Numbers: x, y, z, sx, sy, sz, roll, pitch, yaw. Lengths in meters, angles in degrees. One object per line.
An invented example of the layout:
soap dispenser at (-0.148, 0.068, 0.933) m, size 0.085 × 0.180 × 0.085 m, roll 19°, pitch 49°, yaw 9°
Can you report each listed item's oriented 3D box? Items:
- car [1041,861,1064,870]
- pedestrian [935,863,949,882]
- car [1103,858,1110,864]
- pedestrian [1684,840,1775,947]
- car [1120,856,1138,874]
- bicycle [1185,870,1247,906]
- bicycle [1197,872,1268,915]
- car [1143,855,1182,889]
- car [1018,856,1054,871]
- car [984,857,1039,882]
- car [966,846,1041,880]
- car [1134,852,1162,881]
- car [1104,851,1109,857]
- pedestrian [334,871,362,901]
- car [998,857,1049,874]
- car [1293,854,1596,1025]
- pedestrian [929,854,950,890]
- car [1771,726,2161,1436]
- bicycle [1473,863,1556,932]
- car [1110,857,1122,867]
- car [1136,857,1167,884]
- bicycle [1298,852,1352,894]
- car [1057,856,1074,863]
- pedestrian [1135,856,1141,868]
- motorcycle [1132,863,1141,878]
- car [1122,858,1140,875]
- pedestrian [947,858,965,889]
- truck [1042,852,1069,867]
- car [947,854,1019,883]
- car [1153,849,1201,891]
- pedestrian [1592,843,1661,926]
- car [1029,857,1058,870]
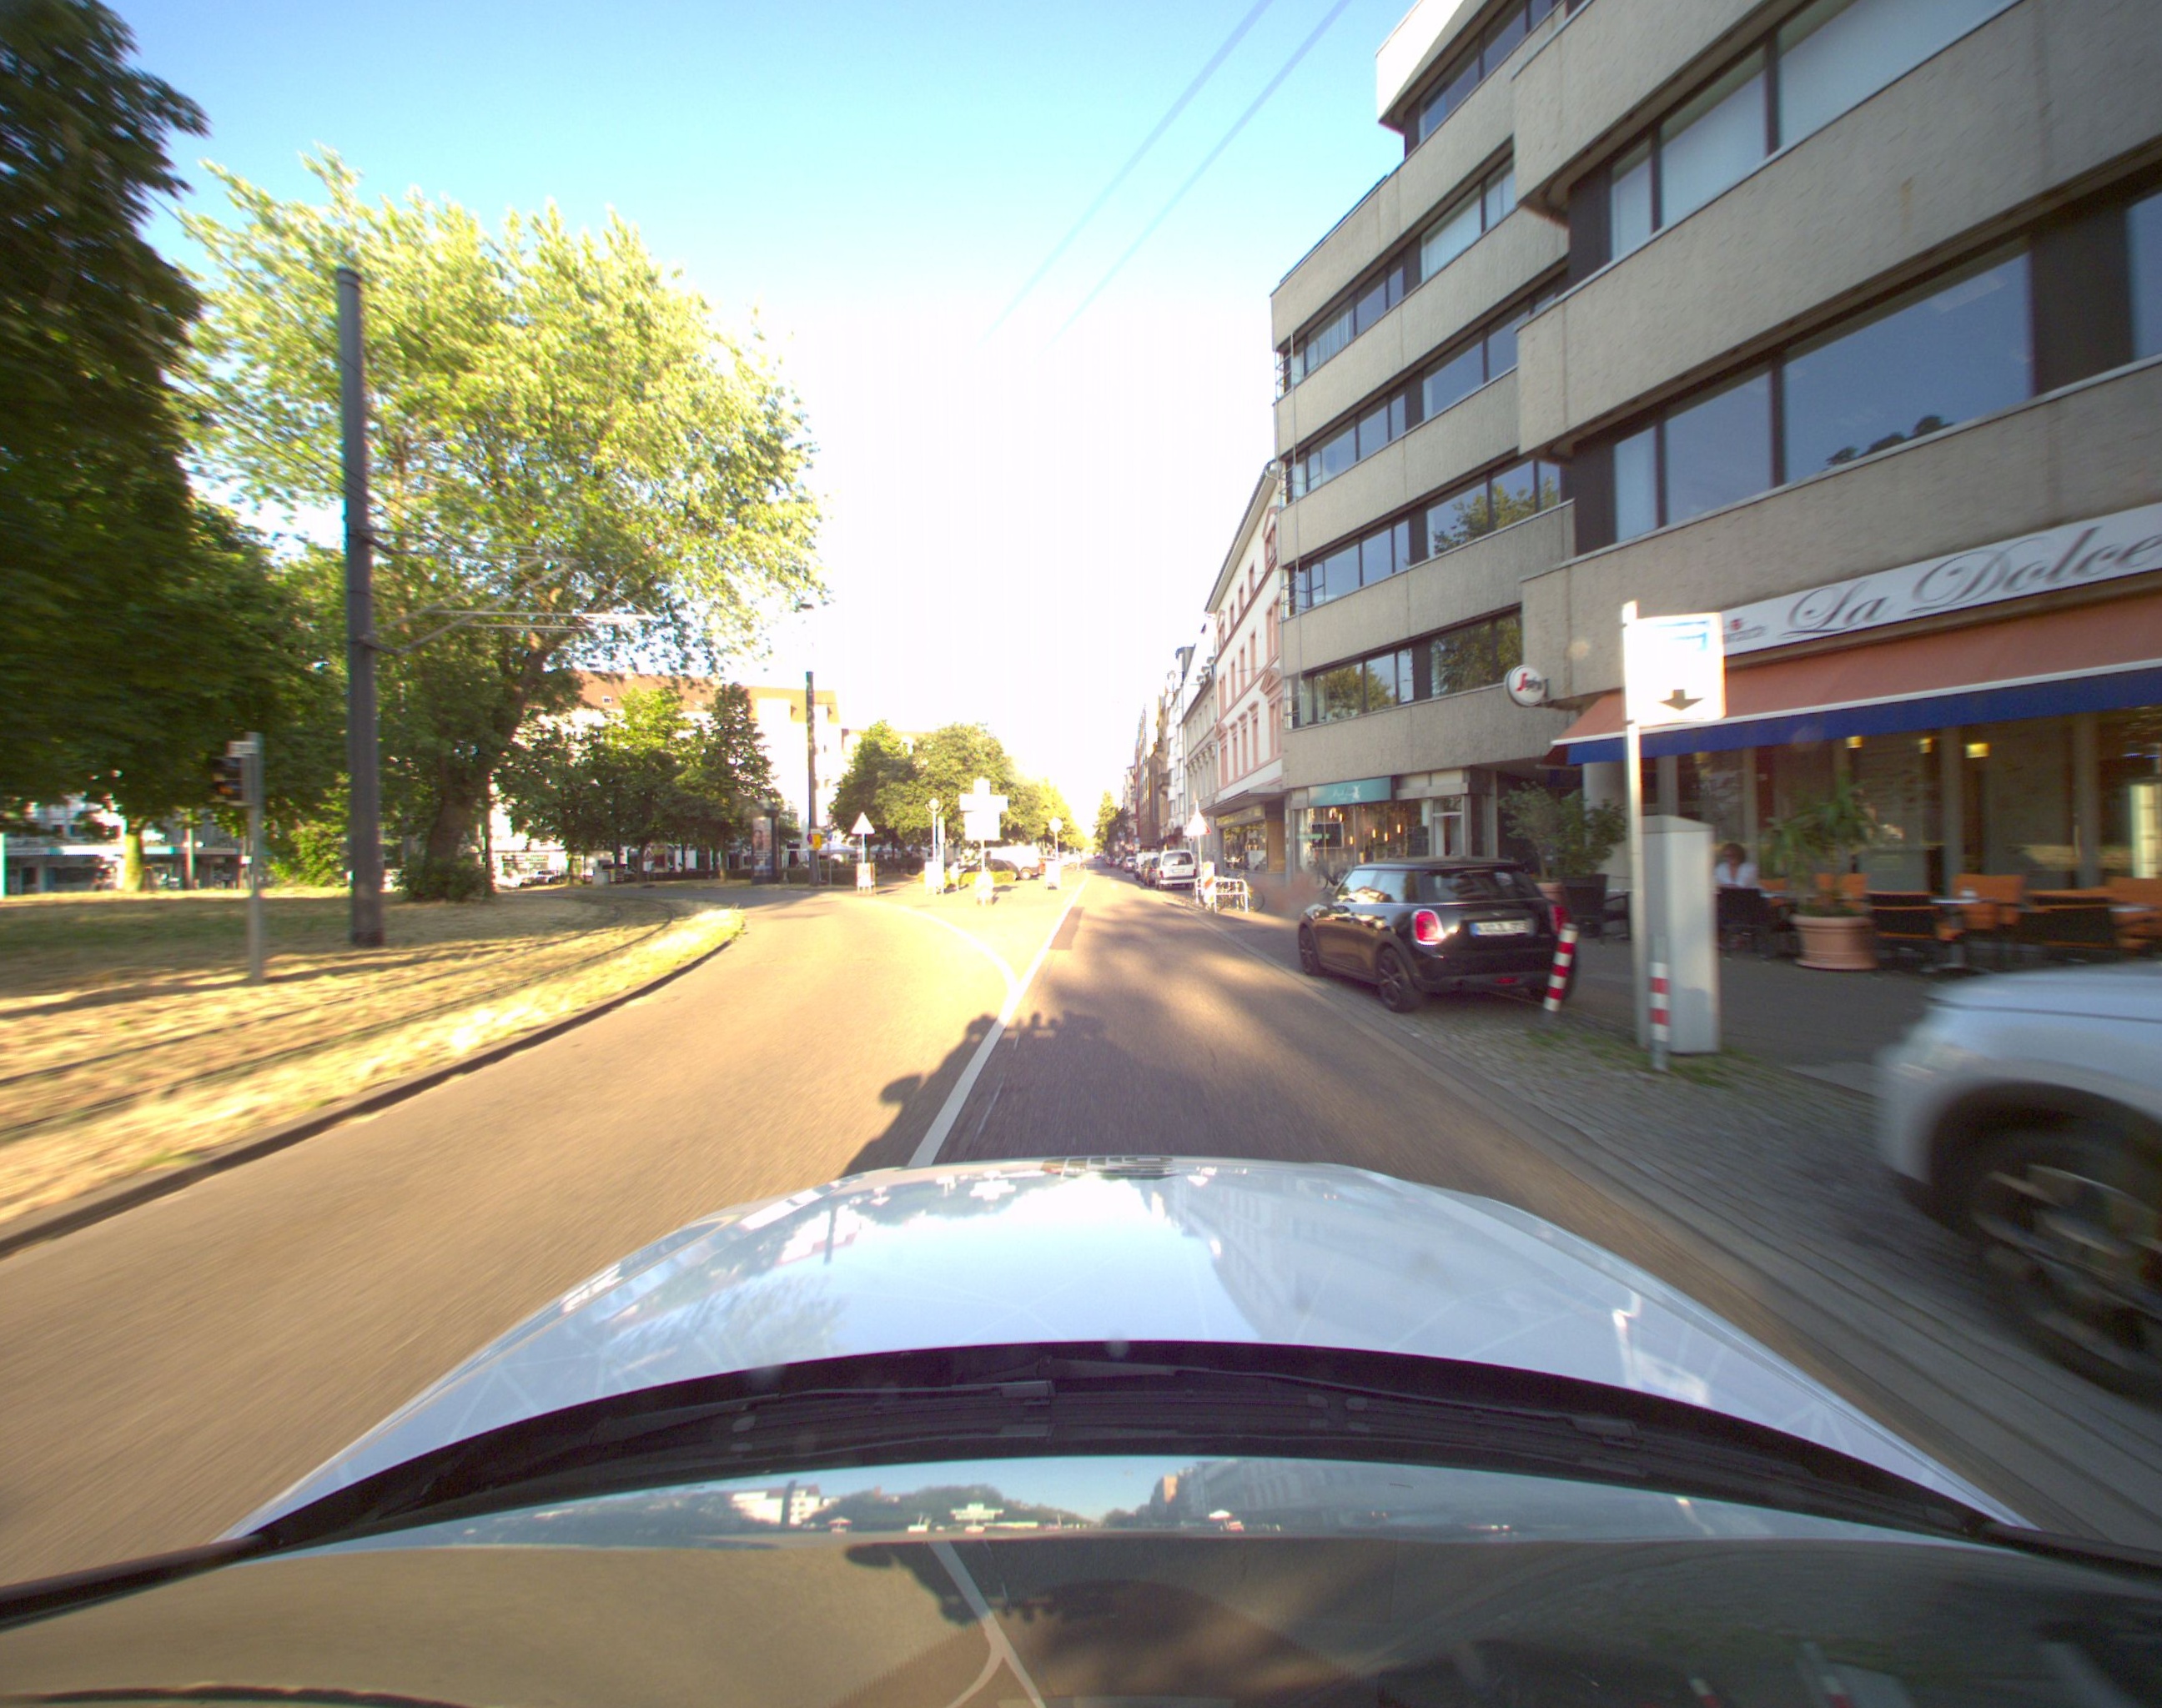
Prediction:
car at (-4.870, 1.967, 139.932) m, size 3.727 × 1.596 × 2.000 m, roll 0°, pitch 0°, yaw 0°
pedestrian at (-9.424, 1.236, 55.263) m, size 0.752 × 1.277 × 0.654 m, roll 0°, pitch 0°, yaw -36°
car at (5.019, 1.410, 160.765) m, size 1.203 × 1.300 × 2.659 m, roll 0°, pitch -1°, yaw -2°
pedestrian at (8.241, 0.481, 10.356) m, size 0.766 × 1.297 × 0.703 m, roll 0°, pitch 0°, yaw -33°
car at (5.093, 1.161, 86.753) m, size 1.690 × 1.769 × 4.000 m, roll -1°, pitch 0°, yaw 0°
bicycle at (4.235, 1.073, 25.572) m, size 1.772 × 0.990 × 0.545 m, roll -4°, pitch 1°, yaw 23°
bicycle at (4.011, 1.037, 21.589) m, size 1.775 × 0.990 × 0.544 m, roll -4°, pitch 1°, yaw 12°
car at (4.255, 0.912, 42.950) m, size 1.651 × 1.665 × 4.108 m, roll 0°, pitch 0°, yaw 0°
car at (-5.763, 1.242, 105.041) m, size 4.434 × 1.835 × 2.034 m, roll 0°, pitch 0°, yaw 0°
car at (-5.496, 1.196, 64.626) m, size 4.017 × 1.878 × 1.851 m, roll 0°, pitch 0°, yaw -35°
car at (-5.241, 0.604, 54.967) m, size 4.622 × 2.251 × 2.184 m, roll 0°, pitch -1°, yaw -26°
car at (4.536, 0.818, 55.539) m, size 1.703 × 1.835 × 4.308 m, roll 0°, pitch 0°, yaw 2°
car at (7.293, 0.028, 230.849) m, size 1.305 × 1.600 × 2.659 m, roll 0°, pitch -1°, yaw -2°
pedestrian at (-47.443, 2.075, 52.709) m, size 0.858 × 1.839 × 0.997 m, roll 0°, pitch 2°, yaw 1°
car at (-5.092, 1.029, 72.082) m, size 4.010 × 1.486 × 1.982 m, roll 0°, pitch 0°, yaw -28°
car at (3.712, 0.755, 9.146) m, size 1.783 × 1.507 × 3.922 m, roll 0°, pitch 0°, yaw 2°
pedestrian at (-6.288, 0.797, 36.159) m, size 0.702 × 1.559 × 0.687 m, roll 0°, pitch 0°, yaw -36°
car at (3.639, 0.575, 1.046) m, size 1.778 × 1.804 × 4.400 m, roll 0°, pitch 0°, yaw 0°
bicycle at (7.385, 0.718, 13.830) m, size 1.901 × 1.005 × 0.453 m, roll -3°, pitch 0°, yaw -38°
car at (5.541, 1.343, 128.761) m, size 1.572 × 1.543 × 3.394 m, roll -1°, pitch -1°, yaw -2°
car at (4.244, 0.969, 49.523) m, size 1.661 × 1.544 × 3.883 m, roll 0°, pitch 0°, yaw 1°
bicycle at (7.901, 0.634, 26.417) m, size 0.417 × 1.277 × 1.644 m, roll -1°, pitch -4°, yaw -42°
car at (-3.560, 1.191, 184.356) m, size 3.727 × 1.493 × 2.000 m, roll 0°, pitch 0°, yaw 0°
pedestrian at (7.751, 1.085, 110.361) m, size 0.763 × 1.689 × 0.786 m, roll -2°, pitch 0°, yaw -2°
motorcycle at (4.453, 1.319, 65.024) m, size 0.586 × 1.200 × 2.210 m, roll 0°, pitch 0°, yaw 1°
car at (5.051, 1.235, 81.730) m, size 1.673 × 1.561 × 4.004 m, roll -3°, pitch 0°, yaw 3°
pedestrian at (-5.607, 0.883, 36.555) m, size 0.567 × 1.364 × 0.607 m, roll 0°, pitch 0°, yaw -36°
truck at (-4.762, 1.021, 151.499) m, size 4.924 × 2.615 × 2.000 m, roll -1°, pitch -1°, yaw 0°
car at (-5.824, 0.837, 48.432) m, size 3.903 × 1.582 × 1.782 m, roll -1°, pitch 0°, yaw -39°
car at (4.358, 0.708, 37.549) m, size 1.786 × 1.792 × 4.092 m, roll -1°, pitch -1°, yaw 1°
pedestrian at (8.713, 0.482, 13.017) m, size 0.702 × 1.278 × 0.537 m, roll -2°, pitch 0°, yaw 1°
car at (-5.146, 1.338, 112.122) m, size 3.976 × 1.708 × 1.833 m, roll 0°, pitch 0°, yaw 0°
